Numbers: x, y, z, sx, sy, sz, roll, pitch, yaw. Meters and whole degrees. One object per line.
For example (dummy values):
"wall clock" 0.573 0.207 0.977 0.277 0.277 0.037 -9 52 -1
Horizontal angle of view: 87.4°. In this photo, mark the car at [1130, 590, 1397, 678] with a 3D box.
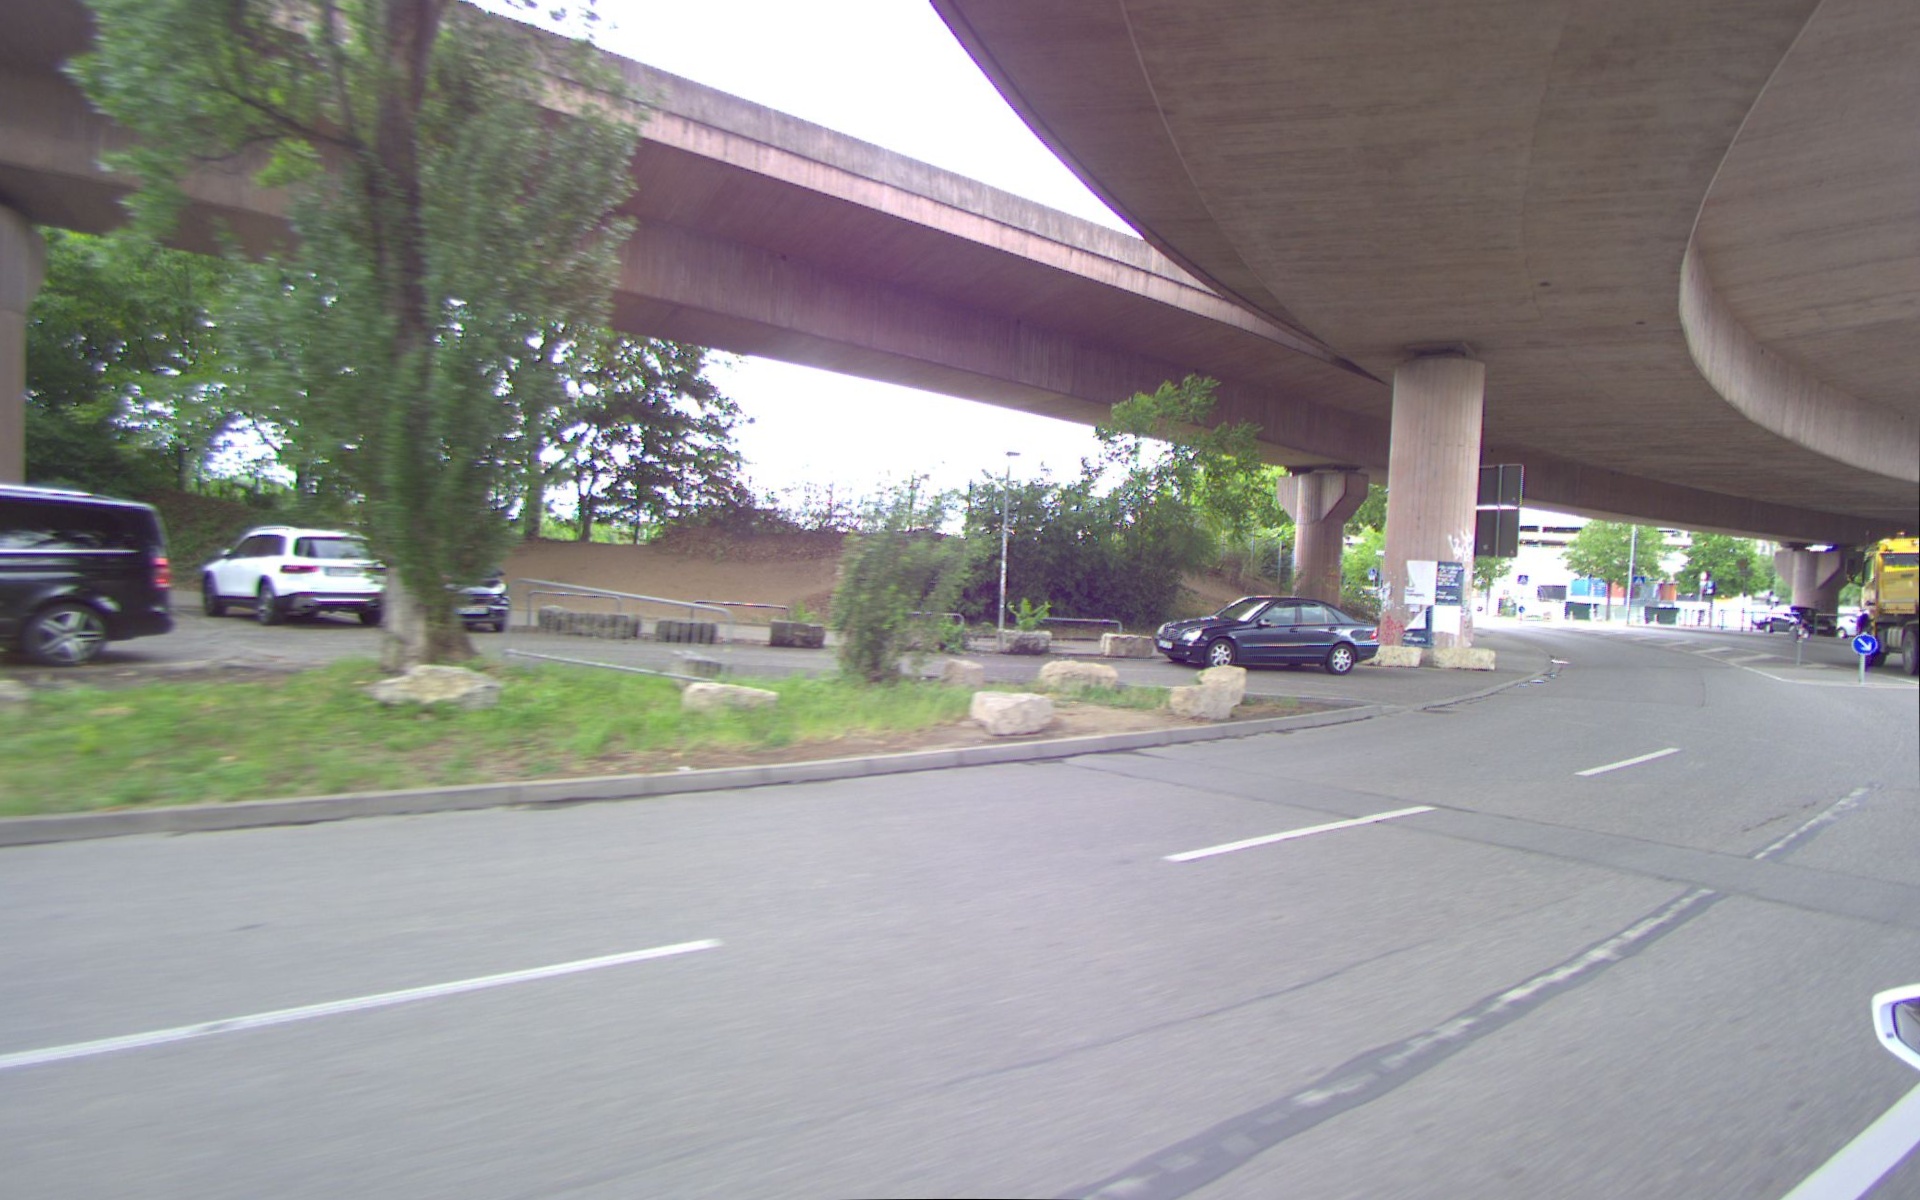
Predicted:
"car" 5.922 0.657 19.736 4.694 1.450 1.822 2 3 -15

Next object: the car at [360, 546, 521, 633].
"car" -9.886 -0.230 18.996 3.815 1.484 1.530 3 1 44

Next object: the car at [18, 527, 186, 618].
"car" -15.894 -0.519 18.552 3.810 1.484 1.735 3 1 40

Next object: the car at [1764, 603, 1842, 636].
"car" 40.963 0.906 48.895 1.579 1.416 3.580 4 2 18

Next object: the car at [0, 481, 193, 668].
"car" -11.180 -0.316 10.268 1.825 1.943 4.961 3 1 33

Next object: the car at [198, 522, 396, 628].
"car" -12.187 -0.478 18.380 3.997 1.730 1.729 3 1 36

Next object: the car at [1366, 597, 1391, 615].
"car" 35.695 0.499 85.747 1.649 1.450 4.000 3 1 19

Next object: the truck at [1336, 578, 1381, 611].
"truck" 45.327 -0.611 114.477 2.628 3.606 7.927 0 0 5

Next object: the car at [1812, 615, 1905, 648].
"car" 49.074 1.664 54.954 1.606 1.573 4.012 2 1 4

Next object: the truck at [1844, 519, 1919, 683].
"truck" 24.605 0.045 24.827 2.718 3.748 7.863 0 0 31
